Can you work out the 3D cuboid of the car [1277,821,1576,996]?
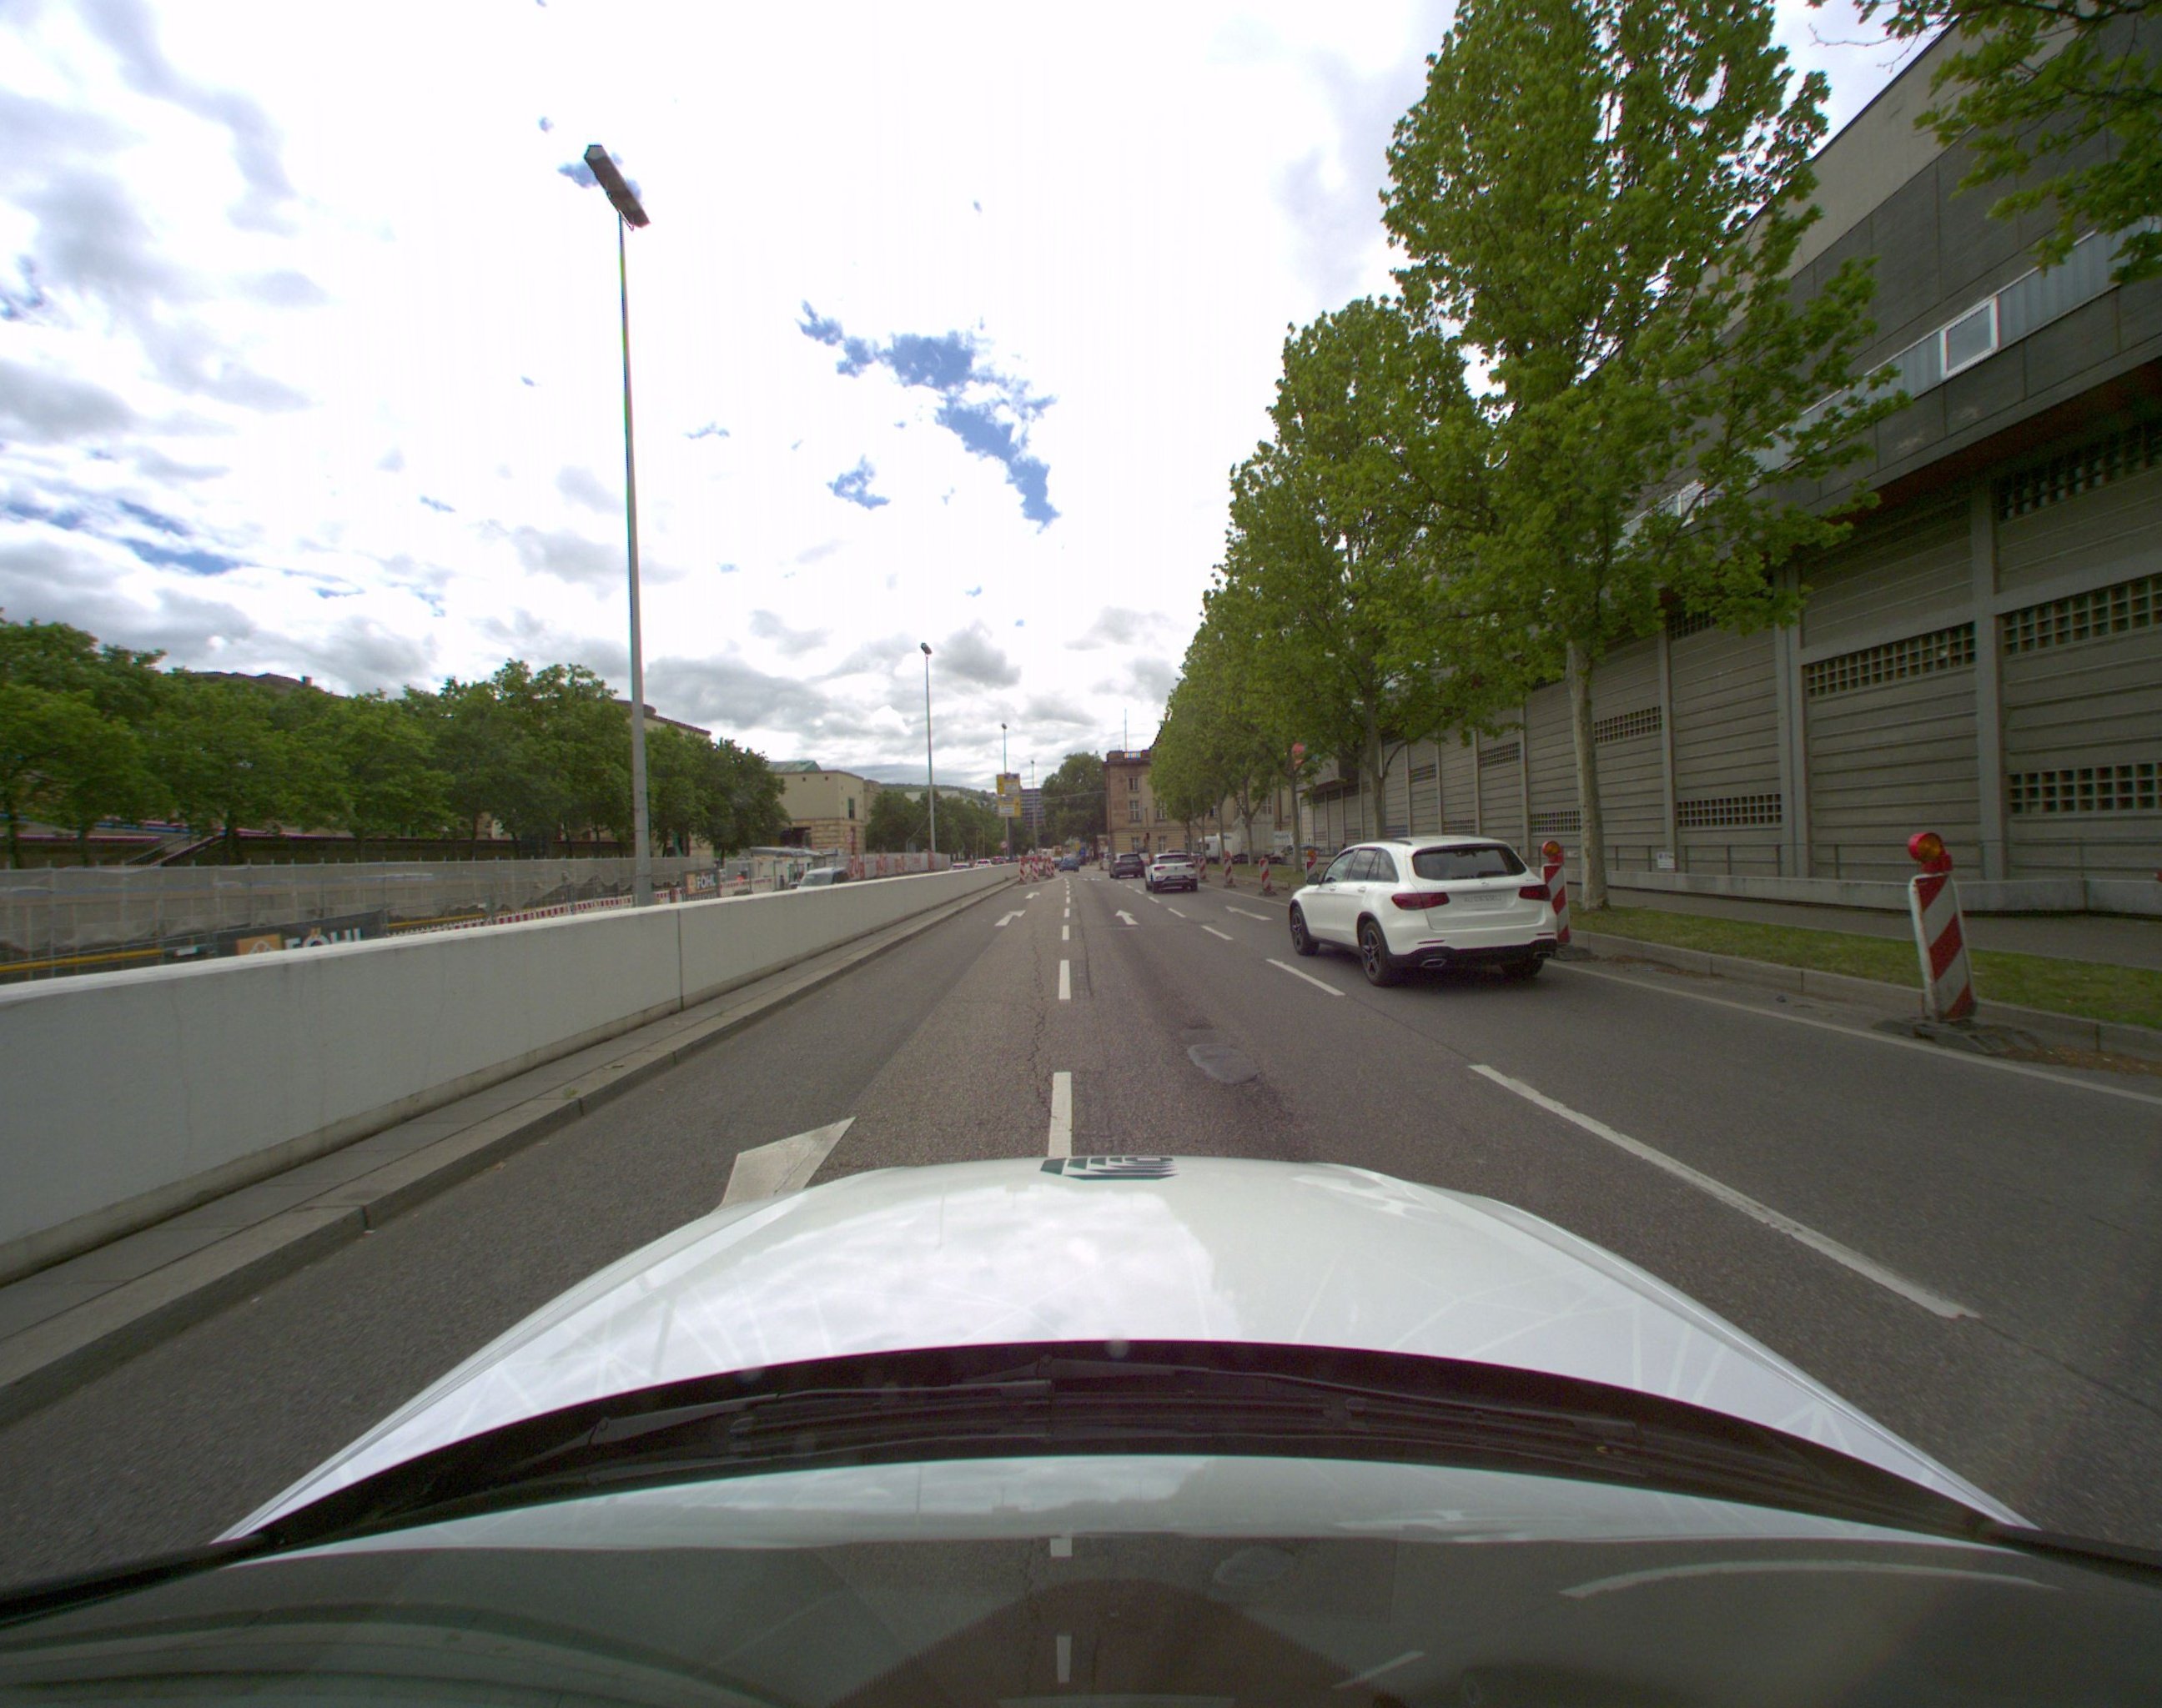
[{"bbox_3d":[4.042,0.496,10.492,1.806,1.642,4.551,-4,1,-1],"label":"car"}]

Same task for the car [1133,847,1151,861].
[{"bbox_3d":[7.569,0.020,100.614,1.850,1.568,4.330,-2,-1,0],"label":"car"}]

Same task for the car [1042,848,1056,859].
[{"bbox_3d":[-7.549,-0.067,191.989,2.571,2.374,5.532,-3,0,4],"label":"car"}]

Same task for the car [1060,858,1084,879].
[{"bbox_3d":[-0.833,1.363,77.126,1.815,1.740,4.485,-3,0,4],"label":"car"}]

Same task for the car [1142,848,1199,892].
[{"bbox_3d":[3.590,0.624,33.475,1.745,1.567,4.330,-5,0,0],"label":"car"}]

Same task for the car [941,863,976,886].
[{"bbox_3d":[-8.899,1.484,59.460,1.745,1.568,4.331,-2,0,0],"label":"car"}]

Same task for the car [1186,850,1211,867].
[{"bbox_3d":[11.473,0.448,79.722,1.850,1.568,4.330,-2,-1,0],"label":"car"}]

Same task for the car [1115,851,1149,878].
[{"bbox_3d":[3.313,0.680,53.782,1.818,1.567,4.478,-4,0,-1],"label":"car"}]

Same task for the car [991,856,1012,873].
[{"bbox_3d":[-8.397,1.110,85.908,1.745,1.567,3.377,-5,0,0],"label":"car"}]

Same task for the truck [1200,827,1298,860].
[{"bbox_3d":[18.058,-1.098,88.054,9.997,3.051,2.568,-2,-1,0],"label":"truck"}]

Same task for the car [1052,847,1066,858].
[{"bbox_3d":[-4.998,-0.357,187.085,2.571,2.374,5.532,-3,0,4],"label":"car"}]

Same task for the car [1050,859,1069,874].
[{"bbox_3d":[-2.640,1.615,101.482,1.815,1.741,4.484,-3,-2,4],"label":"car"}]

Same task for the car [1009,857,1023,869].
[{"bbox_3d":[-9.194,1.297,115.166,1.747,1.568,4.326,-2,0,-3],"label":"car"}]

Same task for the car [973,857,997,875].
[{"bbox_3d":[-8.565,1.073,72.979,1.745,1.568,3.377,-1,0,0],"label":"car"}]

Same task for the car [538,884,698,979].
[{"bbox_3d":[-12.390,1.977,22.138,1.988,2.013,3.999,-2,2,-1],"label":"car"}]

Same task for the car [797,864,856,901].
[{"bbox_3d":[-12.634,1.394,40.606,1.745,1.567,3.377,-5,0,0],"label":"car"}]

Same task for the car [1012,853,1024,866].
[{"bbox_3d":[-11.530,1.001,148.672,1.989,2.013,3.996,-2,2,-3],"label":"car"}]

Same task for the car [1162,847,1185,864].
[{"bbox_3d":[9.051,0.133,80.225,1.745,1.568,4.330,-2,-1,0],"label":"car"}]
